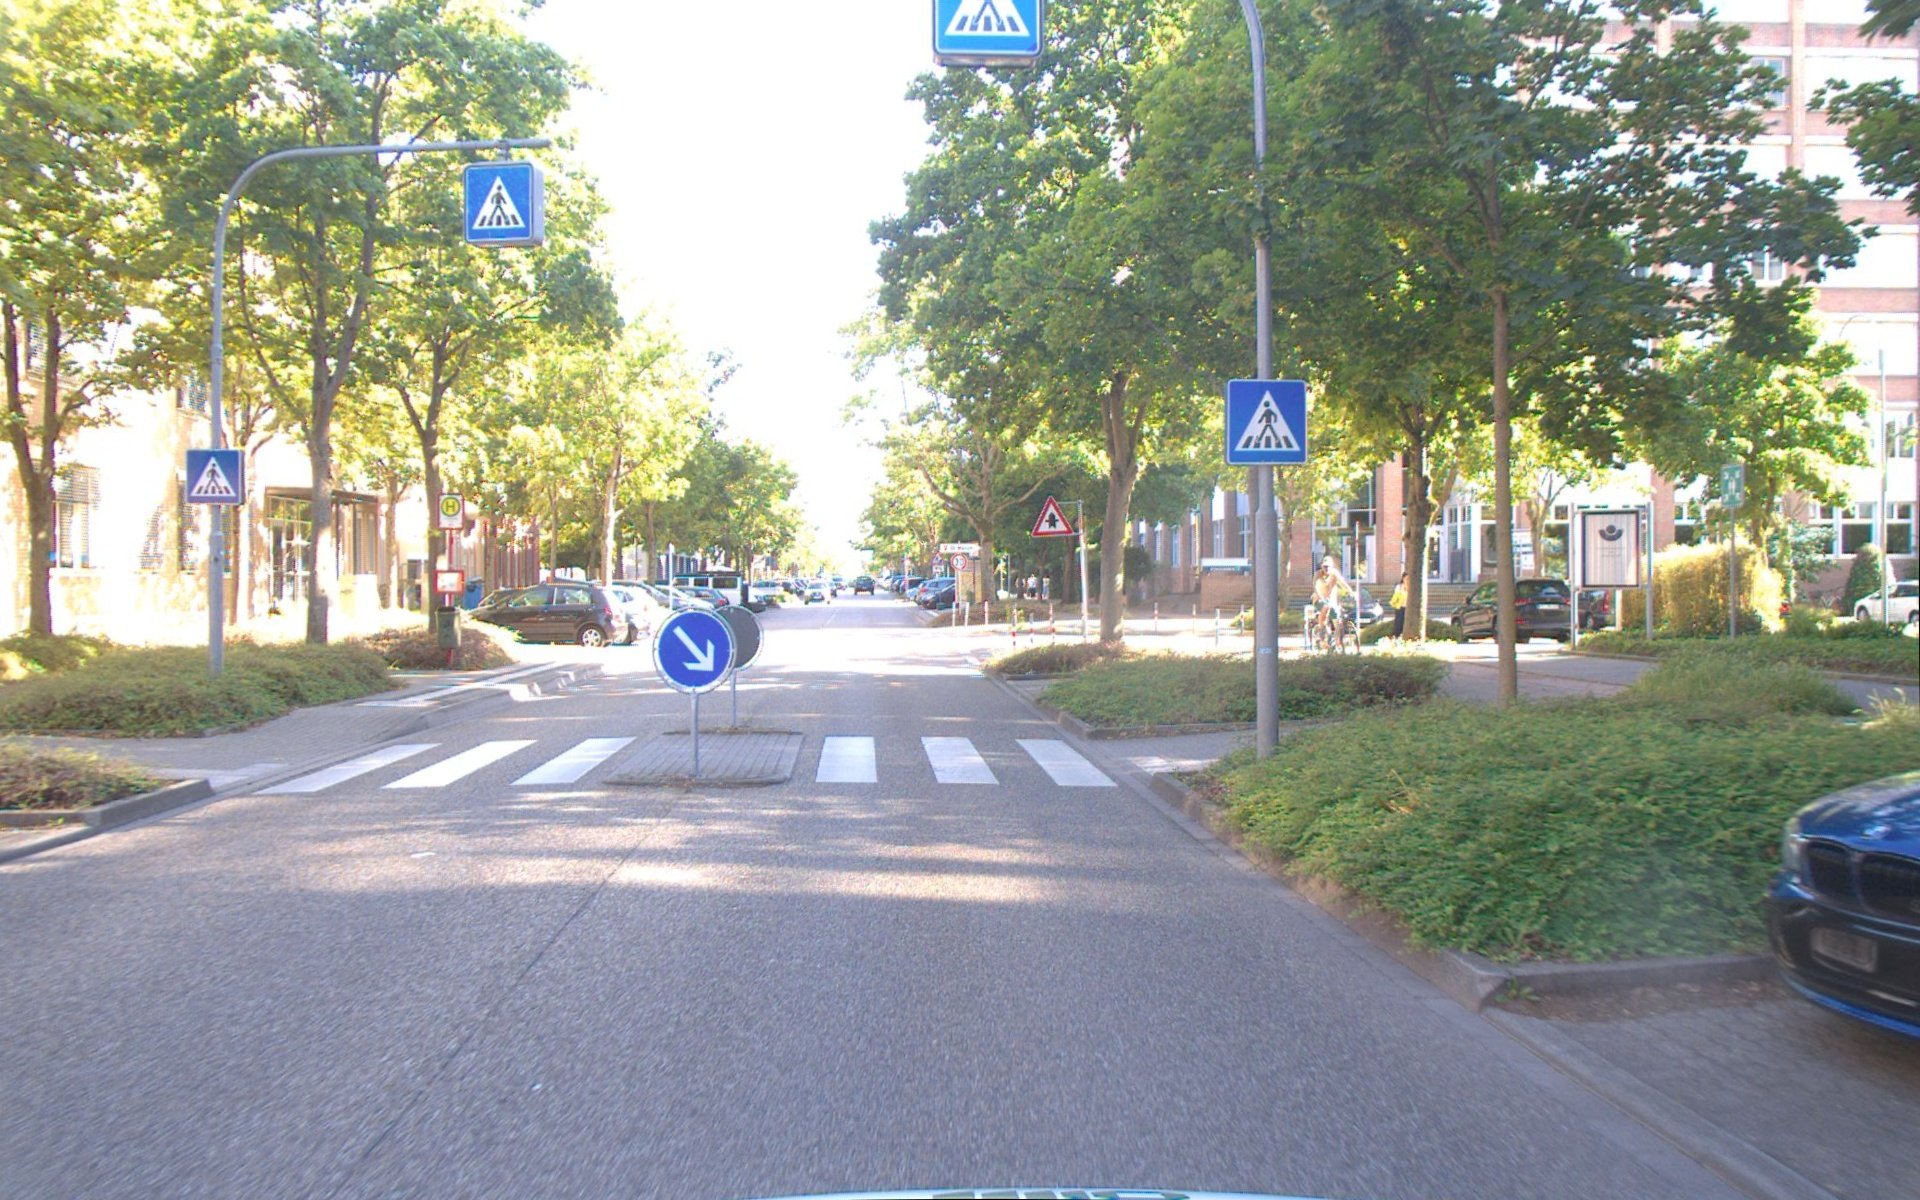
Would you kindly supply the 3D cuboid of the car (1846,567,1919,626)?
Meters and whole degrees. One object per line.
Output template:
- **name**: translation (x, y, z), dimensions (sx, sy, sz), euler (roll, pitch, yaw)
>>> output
- **car**: translation (30.554, -0.144, 53.128), dimensions (1.879, 1.753, 4.112), euler (-1, 2, -2)

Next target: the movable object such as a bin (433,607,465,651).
- **movable object such as a bin**: translation (-8.839, 0.493, 28.593), dimensions (0.433, 0.744, 0.408), euler (1, 0, -4)

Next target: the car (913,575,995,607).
- **car**: translation (-0.350, -0.495, 91.162), dimensions (4.273, 1.625, 1.935), euler (-1, 1, -10)

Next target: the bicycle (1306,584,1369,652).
- **bicycle**: translation (6.316, 0.279, 27.740), dimensions (0.523, 1.097, 1.919), euler (-1, 1, -3)

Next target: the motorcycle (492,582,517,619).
- **motorcycle**: translation (-20.558, 0.023, 74.619), dimensions (0.700, 1.619, 2.108), euler (-1, 1, -5)

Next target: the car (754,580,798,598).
- **car**: translation (-15.980, -0.979, 143.745), dimensions (3.659, 1.489, 1.675), euler (-1, 1, -5)

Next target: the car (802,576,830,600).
- **car**: translation (-9.504, -0.822, 109.621), dimensions (1.744, 1.538, 3.997), euler (-1, 1, -3)

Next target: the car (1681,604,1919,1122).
- **car**: translation (4.615, 0.662, 5.164), dimensions (4.037, 1.394, 1.652), euler (-3, 1, -7)

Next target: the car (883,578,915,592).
- **car**: translation (-7.805, -1.909, 211.382), dimensions (3.913, 1.823, 1.996), euler (-1, 1, -9)

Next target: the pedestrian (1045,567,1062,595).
- **pedestrian**: translation (5.877, -1.201, 103.947), dimensions (0.684, 1.740, 0.917), euler (-4, 1, -15)

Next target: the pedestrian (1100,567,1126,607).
- **pedestrian**: translation (7.007, -0.599, 75.609), dimensions (0.903, 1.740, 0.695), euler (-4, 1, -17)

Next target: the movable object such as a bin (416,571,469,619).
- **movable object such as a bin**: translation (-20.191, -0.216, 64.593), dimensions (1.566, 1.828, 1.664), euler (-1, 1, -2)

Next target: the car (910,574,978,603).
- **car**: translation (-1.069, -0.774, 109.937), dimensions (4.319, 1.646, 1.910), euler (-4, 1, -5)

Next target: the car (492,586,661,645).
- **car**: translation (-10.042, 0.398, 43.527), dimensions (4.070, 1.427, 1.799), euler (1, 0, -4)

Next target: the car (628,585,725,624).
- **car**: translation (-11.582, 0.183, 67.698), dimensions (3.702, 1.518, 1.832), euler (1, 1, -3)

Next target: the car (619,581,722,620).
- **car**: translation (-11.463, 0.009, 65.546), dimensions (3.756, 1.486, 1.732), euler (1, 1, -1)

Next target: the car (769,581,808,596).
- **car**: translation (-17.124, -1.138, 165.052), dimensions (3.816, 1.489, 1.856), euler (-1, 1, -5)

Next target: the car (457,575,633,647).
- **car**: translation (-10.171, 0.258, 40.756), dimensions (3.908, 1.598, 1.727), euler (2, 0, -4)

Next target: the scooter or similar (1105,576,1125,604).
- **scooter or similar**: translation (7.565, -0.494, 80.593), dimensions (0.538, 1.348, 1.802), euler (1, 0, -8)

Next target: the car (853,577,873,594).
- **car**: translation (-9.607, -1.461, 163.535), dimensions (1.895, 1.625, 4.363), euler (-1, 1, -4)

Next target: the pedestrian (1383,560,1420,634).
- **pedestrian**: translation (9.653, -0.069, 36.151), dimensions (0.528, 1.610, 0.646), euler (-1, 1, -13)

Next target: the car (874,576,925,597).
- **car**: translation (-5.137, -1.156, 139.782), dimensions (4.186, 1.662, 1.856), euler (-2, 1, -6)

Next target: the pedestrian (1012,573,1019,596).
- **pedestrian**: translation (3.591, -1.025, 106.875), dimensions (0.373, 1.466, 0.433), euler (1, 0, -7)

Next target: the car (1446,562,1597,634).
- **car**: translation (13.131, 0.006, 38.953), dimensions (1.704, 1.593, 4.360), euler (0, -1, -6)

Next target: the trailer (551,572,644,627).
- **trailer**: translation (-11.689, -0.029, 53.476), dimensions (2.671, 1.717, 1.711), euler (1, 1, -3)

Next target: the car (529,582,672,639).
- **car**: translation (-10.072, 0.275, 46.503), dimensions (3.680, 1.477, 1.753), euler (1, 0, -4)

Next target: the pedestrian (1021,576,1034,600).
- **pedestrian**: translation (4.355, -0.777, 107.017), dimensions (0.687, 1.483, 0.714), euler (-1, 1, -6)

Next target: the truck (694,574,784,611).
- **truck**: translation (-12.751, -0.444, 95.553), dimensions (4.884, 1.993, 2.138), euler (-1, 1, -1)

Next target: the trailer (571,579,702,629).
- **trailer**: translation (-10.884, 0.134, 55.893), dimensions (4.179, 1.599, 1.853), euler (1, 0, -7)

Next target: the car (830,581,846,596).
- **car**: translation (-14.706, -1.391, 199.358), dimensions (1.855, 1.713, 4.348), euler (-1, 1, -6)

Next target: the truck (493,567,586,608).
- **truck**: translation (-29.516, -0.888, 116.261), dimensions (5.986, 2.752, 2.575), euler (-1, 1, -6)

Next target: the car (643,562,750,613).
- **car**: translation (-11.268, -0.549, 71.054), dimensions (4.395, 2.087, 1.998), euler (1, 0, -6)

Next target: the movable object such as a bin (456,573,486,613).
- **movable object such as a bin**: translation (-20.549, -0.285, 69.520), dimensions (1.126, 1.648, 1.436), euler (-1, 1, -16)

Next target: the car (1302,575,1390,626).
- **car**: translation (11.951, -0.022, 51.458), dimensions (1.619, 1.488, 3.915), euler (0, 1, -4)

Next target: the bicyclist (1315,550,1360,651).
- **bicyclist**: translation (6.318, 0.003, 27.701), dimensions (0.526, 1.665, 0.822), euler (-1, 1, -3)

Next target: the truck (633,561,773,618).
- **truck**: translation (-11.789, -0.495, 76.257), dimensions (6.108, 2.464, 2.186), euler (-1, 0, -3)
